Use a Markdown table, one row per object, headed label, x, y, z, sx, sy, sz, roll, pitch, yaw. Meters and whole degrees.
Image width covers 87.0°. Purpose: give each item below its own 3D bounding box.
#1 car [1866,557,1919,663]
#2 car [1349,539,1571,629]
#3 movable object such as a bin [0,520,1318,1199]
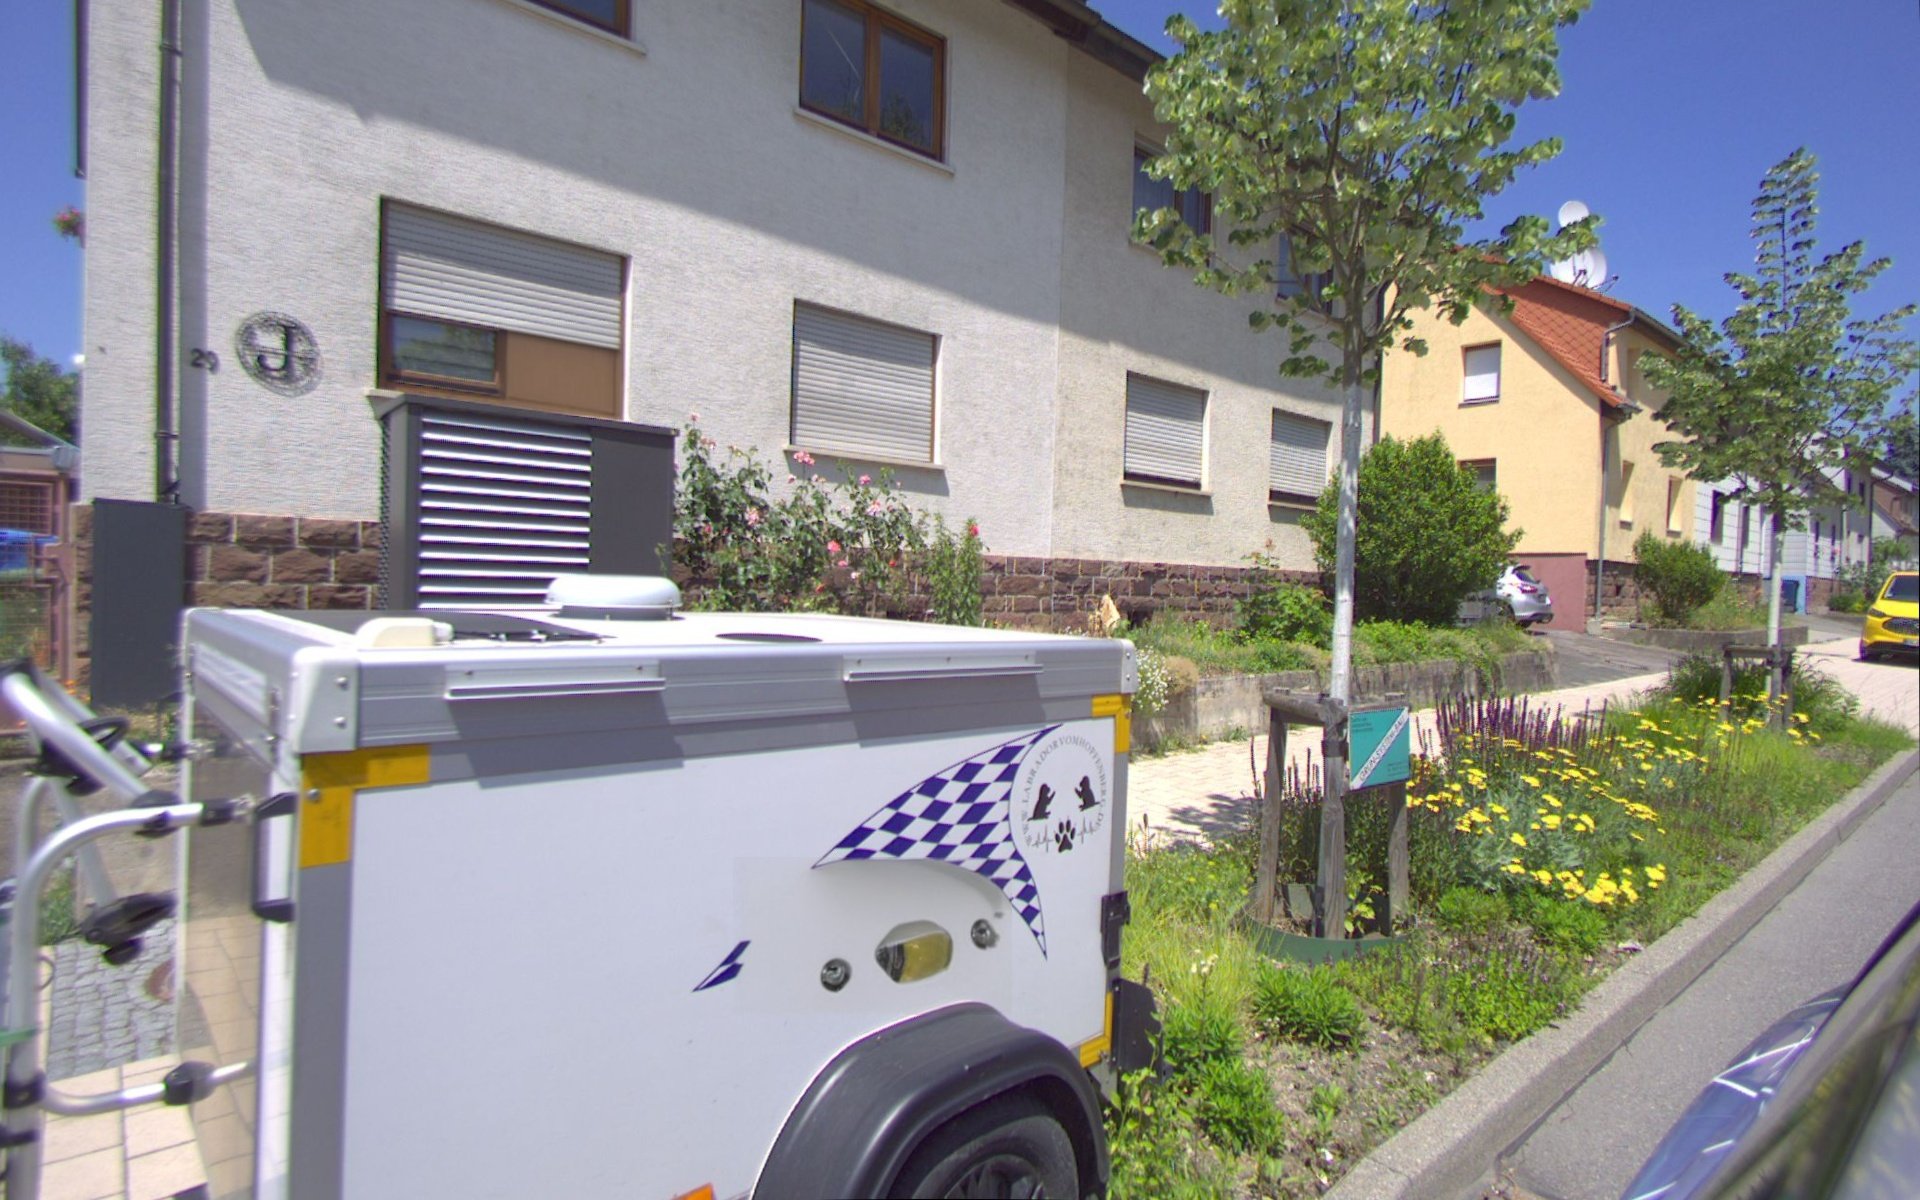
| label | x | y | z | sx | sy | sz | roll | pitch | yaw |
| --- | --- | --- | --- | --- | --- | --- | --- | --- | --- |
| car | 21.066 | 0.194 | 21.376 | 5.528 | 2.037 | 2.194 | -2 | 6 | -43 |
| car | 11.051 | -0.414 | 22.555 | 1.843 | 1.696 | 3.994 | 0 | 4 | -43 |
| movable object such as a bin | -0.781 | 0.605 | 2.004 | 2.990 | 1.434 | 1.574 | -1 | 3 | -42 |
